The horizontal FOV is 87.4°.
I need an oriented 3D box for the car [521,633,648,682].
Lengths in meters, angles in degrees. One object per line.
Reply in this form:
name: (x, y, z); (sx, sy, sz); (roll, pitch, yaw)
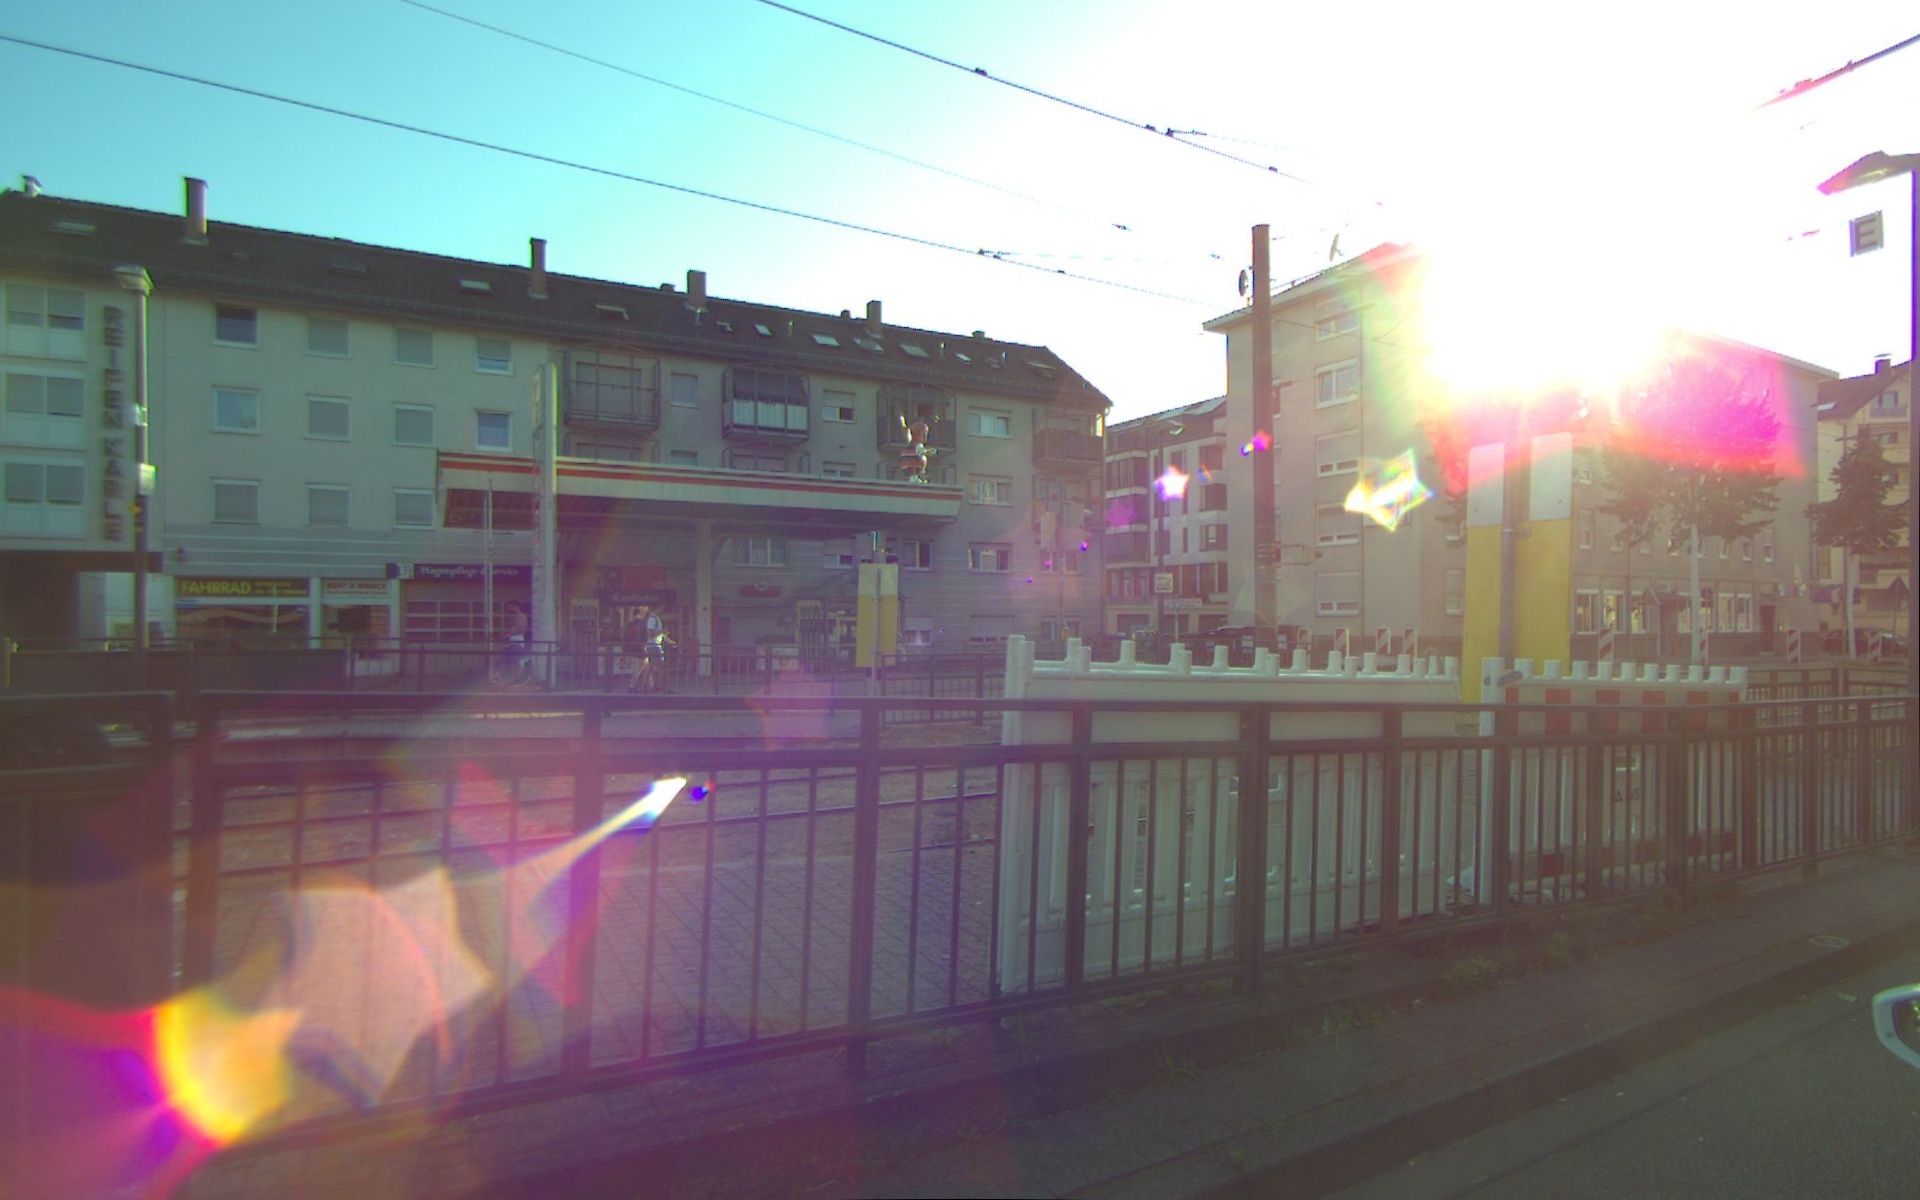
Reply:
car: (-12.617, 1.893, 33.762); (3.782, 1.543, 1.804); (1, -2, -29)

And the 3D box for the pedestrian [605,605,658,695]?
pedestrian: (-6.662, 1.007, 20.365); (0.851, 1.770, 0.748); (1, -1, -33)

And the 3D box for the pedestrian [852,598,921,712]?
pedestrian: (-1.134, 0.828, 15.623); (0.918, 1.676, 0.926); (1, 1, 4)

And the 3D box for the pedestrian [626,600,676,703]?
pedestrian: (-6.068, 1.000, 19.729); (0.747, 1.957, 0.853); (1, -1, -32)

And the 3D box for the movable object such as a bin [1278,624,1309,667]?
movable object such as a bin: (11.218, 1.530, 33.795); (0.740, 1.419, 0.660); (1, -2, -32)

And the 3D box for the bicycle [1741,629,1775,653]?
bicycle: (39.377, 2.006, 49.574); (1.757, 1.129, 0.743); (1, -2, -30)

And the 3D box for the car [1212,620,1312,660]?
car: (12.177, 1.614, 40.773); (1.794, 1.532, 3.804); (1, -2, -26)

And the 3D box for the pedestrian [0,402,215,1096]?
pedestrian: (-2.458, 0.337, 2.625); (0.782, 1.571, 0.908); (1, 0, -38)

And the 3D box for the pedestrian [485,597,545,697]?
pedestrian: (-8.866, 0.913, 20.013); (0.989, 1.907, 0.749); (1, 2, -31)

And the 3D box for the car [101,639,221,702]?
car: (-21.747, 1.867, 27.507); (1.794, 1.543, 3.782); (1, -2, -27)
